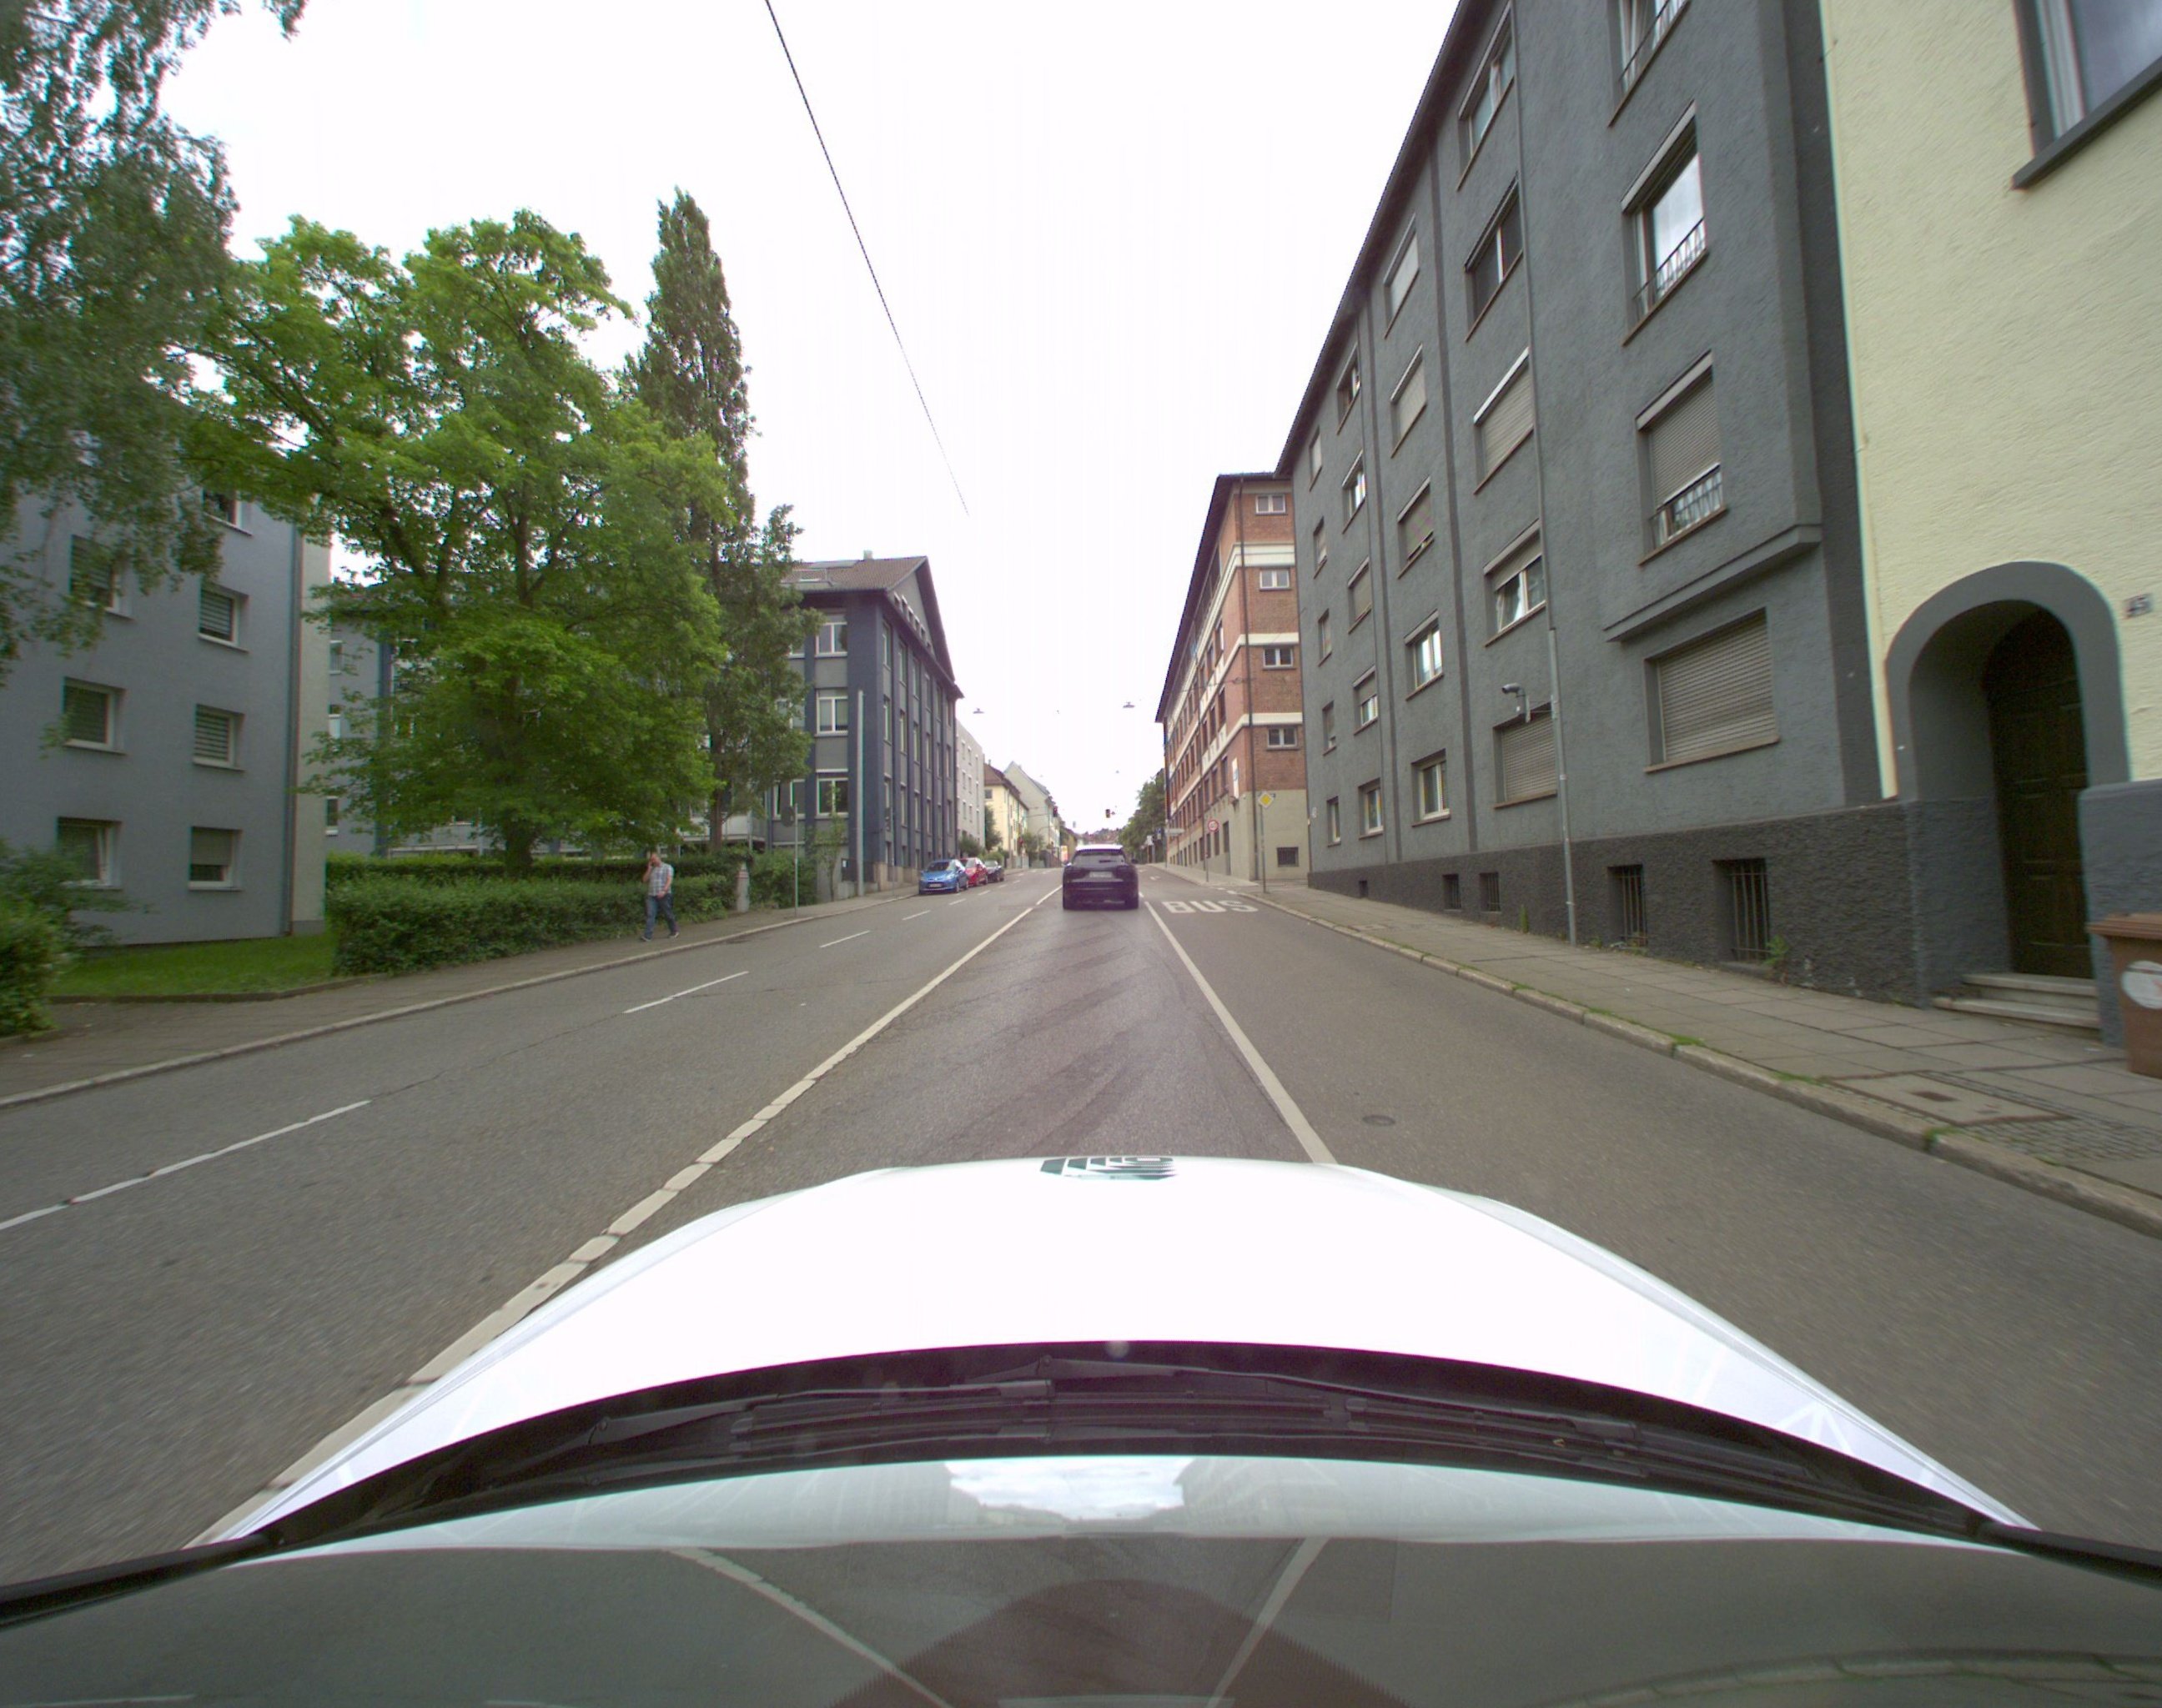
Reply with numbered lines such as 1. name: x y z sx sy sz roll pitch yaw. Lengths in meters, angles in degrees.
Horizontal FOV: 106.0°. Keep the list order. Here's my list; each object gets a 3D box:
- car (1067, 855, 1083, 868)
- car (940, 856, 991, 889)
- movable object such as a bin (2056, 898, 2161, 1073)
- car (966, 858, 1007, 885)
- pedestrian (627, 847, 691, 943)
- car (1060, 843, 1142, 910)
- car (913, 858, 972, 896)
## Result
1. car: -0.901 1.044 118.092 1.889 1.691 4.004 -4 0 4
2. car: -5.875 0.895 41.834 1.707 1.456 3.993 -4 0 3
3. movable object such as a bin: 6.116 0.731 4.624 0.473 0.892 0.517 -5 0 1
4. car: -5.479 0.982 47.696 1.708 1.341 3.906 -4 0 2
5. pedestrian: -8.833 0.831 17.087 0.879 1.950 0.868 0 0 1
6. car: 0.448 0.564 22.487 2.019 1.641 4.352 0 0 -2
7. car: -6.087 0.972 36.254 1.708 1.423 3.991 -4 0 2
